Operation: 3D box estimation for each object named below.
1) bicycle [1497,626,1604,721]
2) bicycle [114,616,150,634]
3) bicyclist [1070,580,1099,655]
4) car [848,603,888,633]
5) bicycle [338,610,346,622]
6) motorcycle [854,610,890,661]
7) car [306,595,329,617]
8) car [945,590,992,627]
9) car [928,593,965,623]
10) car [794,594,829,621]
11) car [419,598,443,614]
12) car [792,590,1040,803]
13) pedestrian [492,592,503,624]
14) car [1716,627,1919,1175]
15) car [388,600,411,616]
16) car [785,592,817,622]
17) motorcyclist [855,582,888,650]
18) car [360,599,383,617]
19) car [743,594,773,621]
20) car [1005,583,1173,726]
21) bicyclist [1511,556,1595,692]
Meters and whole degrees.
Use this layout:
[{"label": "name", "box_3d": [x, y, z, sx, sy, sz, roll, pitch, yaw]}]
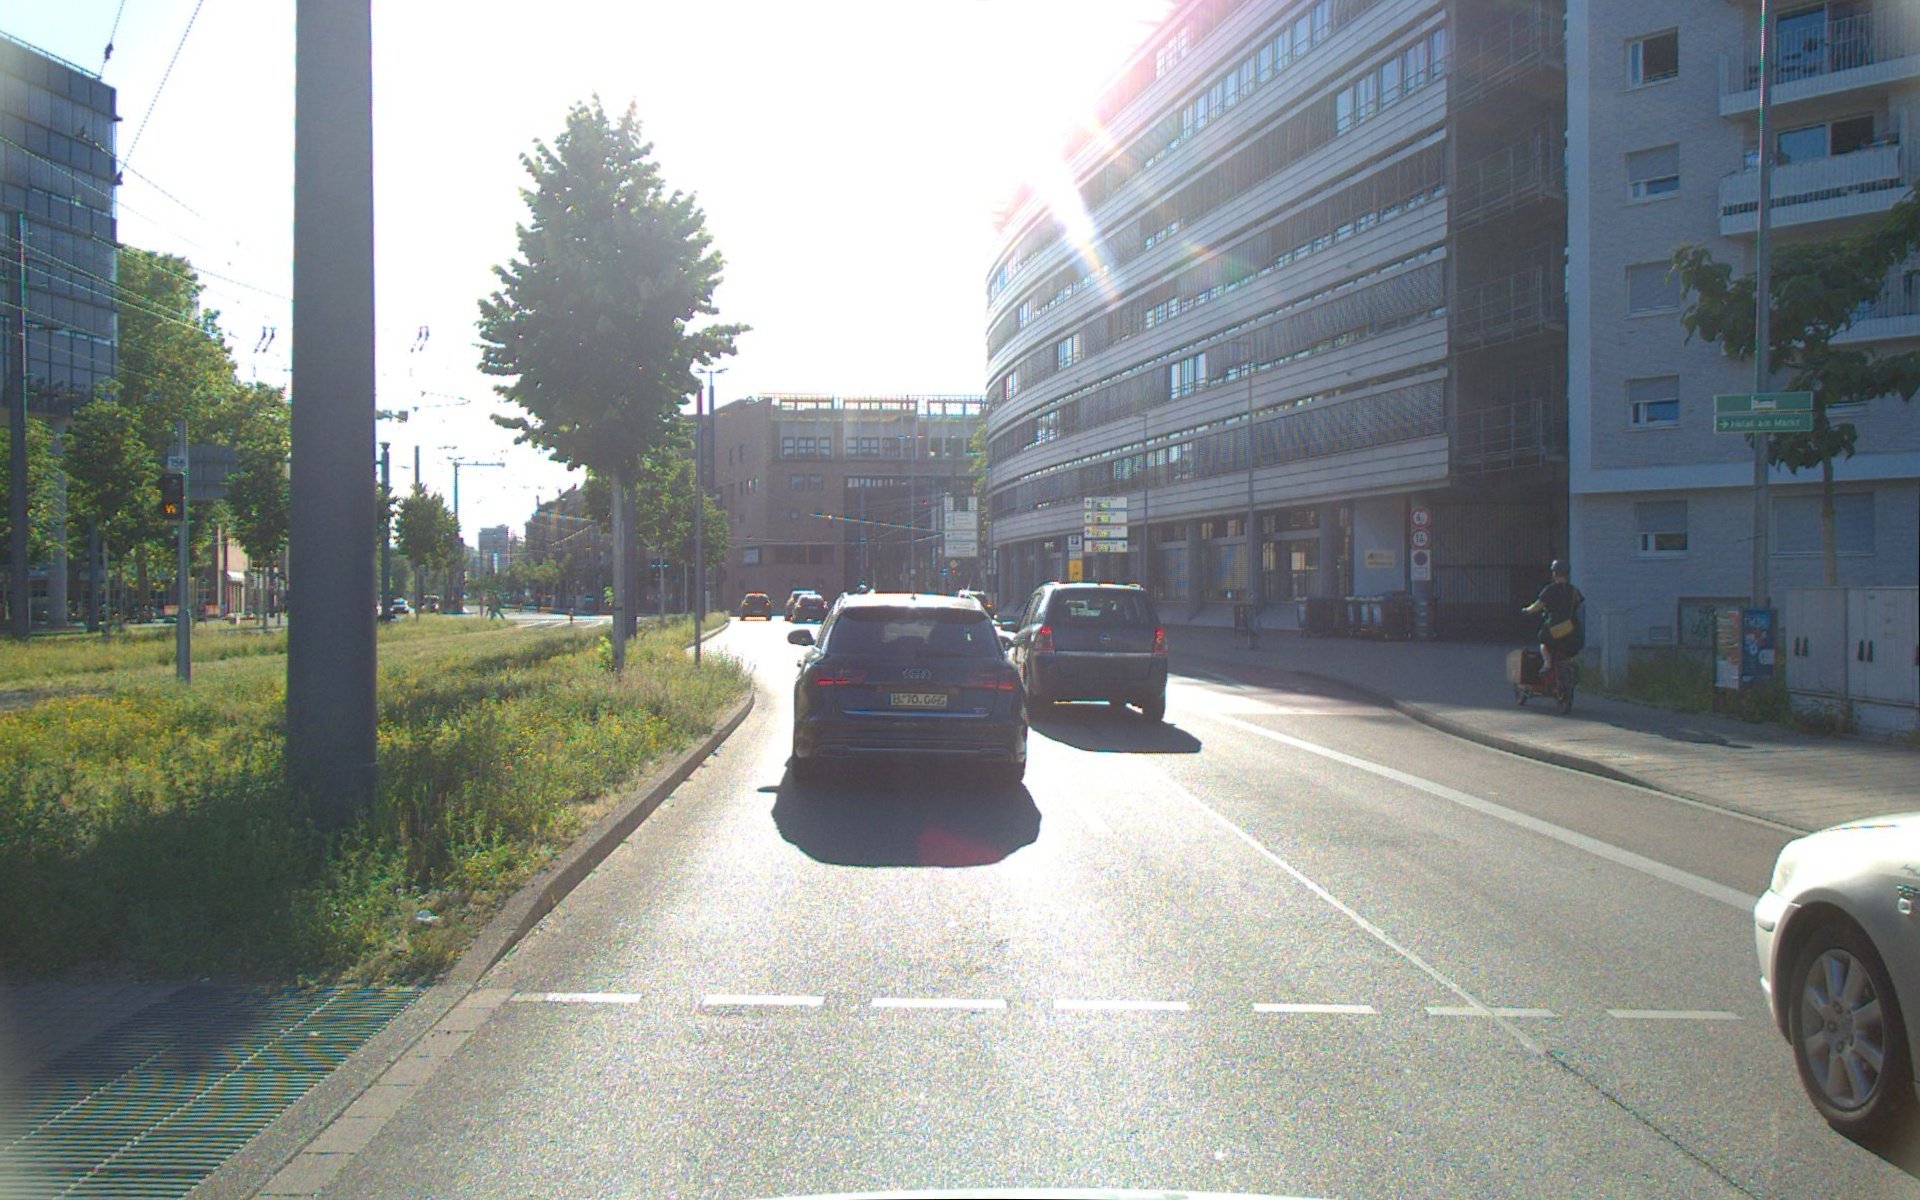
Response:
[{"label": "bicycle", "box_3d": [7.153, 0.861, 20.139, 0.488, 1.050, 2.205, 0, 0, -1]}, {"label": "bicycle", "box_3d": [-46.401, 1.379, 92.657, 1.750, 0.968, 0.535, 0, 0, -35]}, {"label": "bicyclist", "box_3d": [3.060, 0.435, 40.701, 0.566, 1.822, 0.862, 0, 0, -6]}, {"label": "car", "box_3d": [-4.693, 0.898, 84.202, 1.773, 1.483, 3.994, 1, 0, -7]}, {"label": "bicycle", "box_3d": [-57.425, 1.446, 153.698, 0.640, 1.104, 2.910, 0, 0, -19]}, {"label": "motorcycle", "box_3d": [-2.072, 0.808, 38.732, 0.760, 1.135, 1.967, 0, 0, -5]}, {"label": "car", "box_3d": [-60.664, 0.574, 156.165, 1.965, 2.049, 3.975, 0, 0, -21]}, {"label": "car", "box_3d": [0.390, 0.401, 82.368, 1.954, 1.780, 4.325, 0, 0, -5]}, {"label": "car", "box_3d": [-0.791, 0.431, 95.503, 1.954, 1.680, 3.997, 0, 0, -4]}, {"label": "car", "box_3d": [-7.833, 0.373, 87.061, 1.704, 1.373, 3.994, 0, 0, -7]}, {"label": "car", "box_3d": [-51.028, 0.593, 159.499, 1.722, 1.531, 3.850, 0, 0, -25]}, {"label": "car", "box_3d": [-0.409, 0.690, 14.105, 1.775, 1.518, 4.493, 0, 0, -3]}, {"label": "pedestrian", "box_3d": [-27.666, 0.471, 98.915, 0.621, 1.862, 0.660, 0, 0, -14]}, {"label": "car", "box_3d": [3.435, 0.820, 3.427, 1.715, 1.456, 4.489, 0, 0, 0]}, {"label": "car", "box_3d": [-54.293, 0.764, 160.087, 1.722, 1.531, 3.850, 0, 0, -25]}, {"label": "car", "box_3d": [-9.054, 0.381, 94.019, 1.704, 1.680, 3.994, 0, 0, -7]}, {"label": "motorcyclist", "box_3d": [-2.054, 0.371, 38.361, 0.730, 1.557, 1.019, 0, 0, -5]}, {"label": "car", "box_3d": [-56.970, 0.737, 160.035, 1.965, 1.624, 4.709, -1, 1, -21]}, {"label": "car", "box_3d": [-11.367, 0.416, 93.085, 1.618, 1.458, 3.994, 0, 0, -7]}, {"label": "car", "box_3d": [1.559, 0.630, 21.463, 1.654, 1.657, 4.460, 0, 0, -2]}, {"label": "bicyclist", "box_3d": [7.151, 0.283, 19.988, 0.612, 1.594, 1.043, 0, 0, -2]}]
